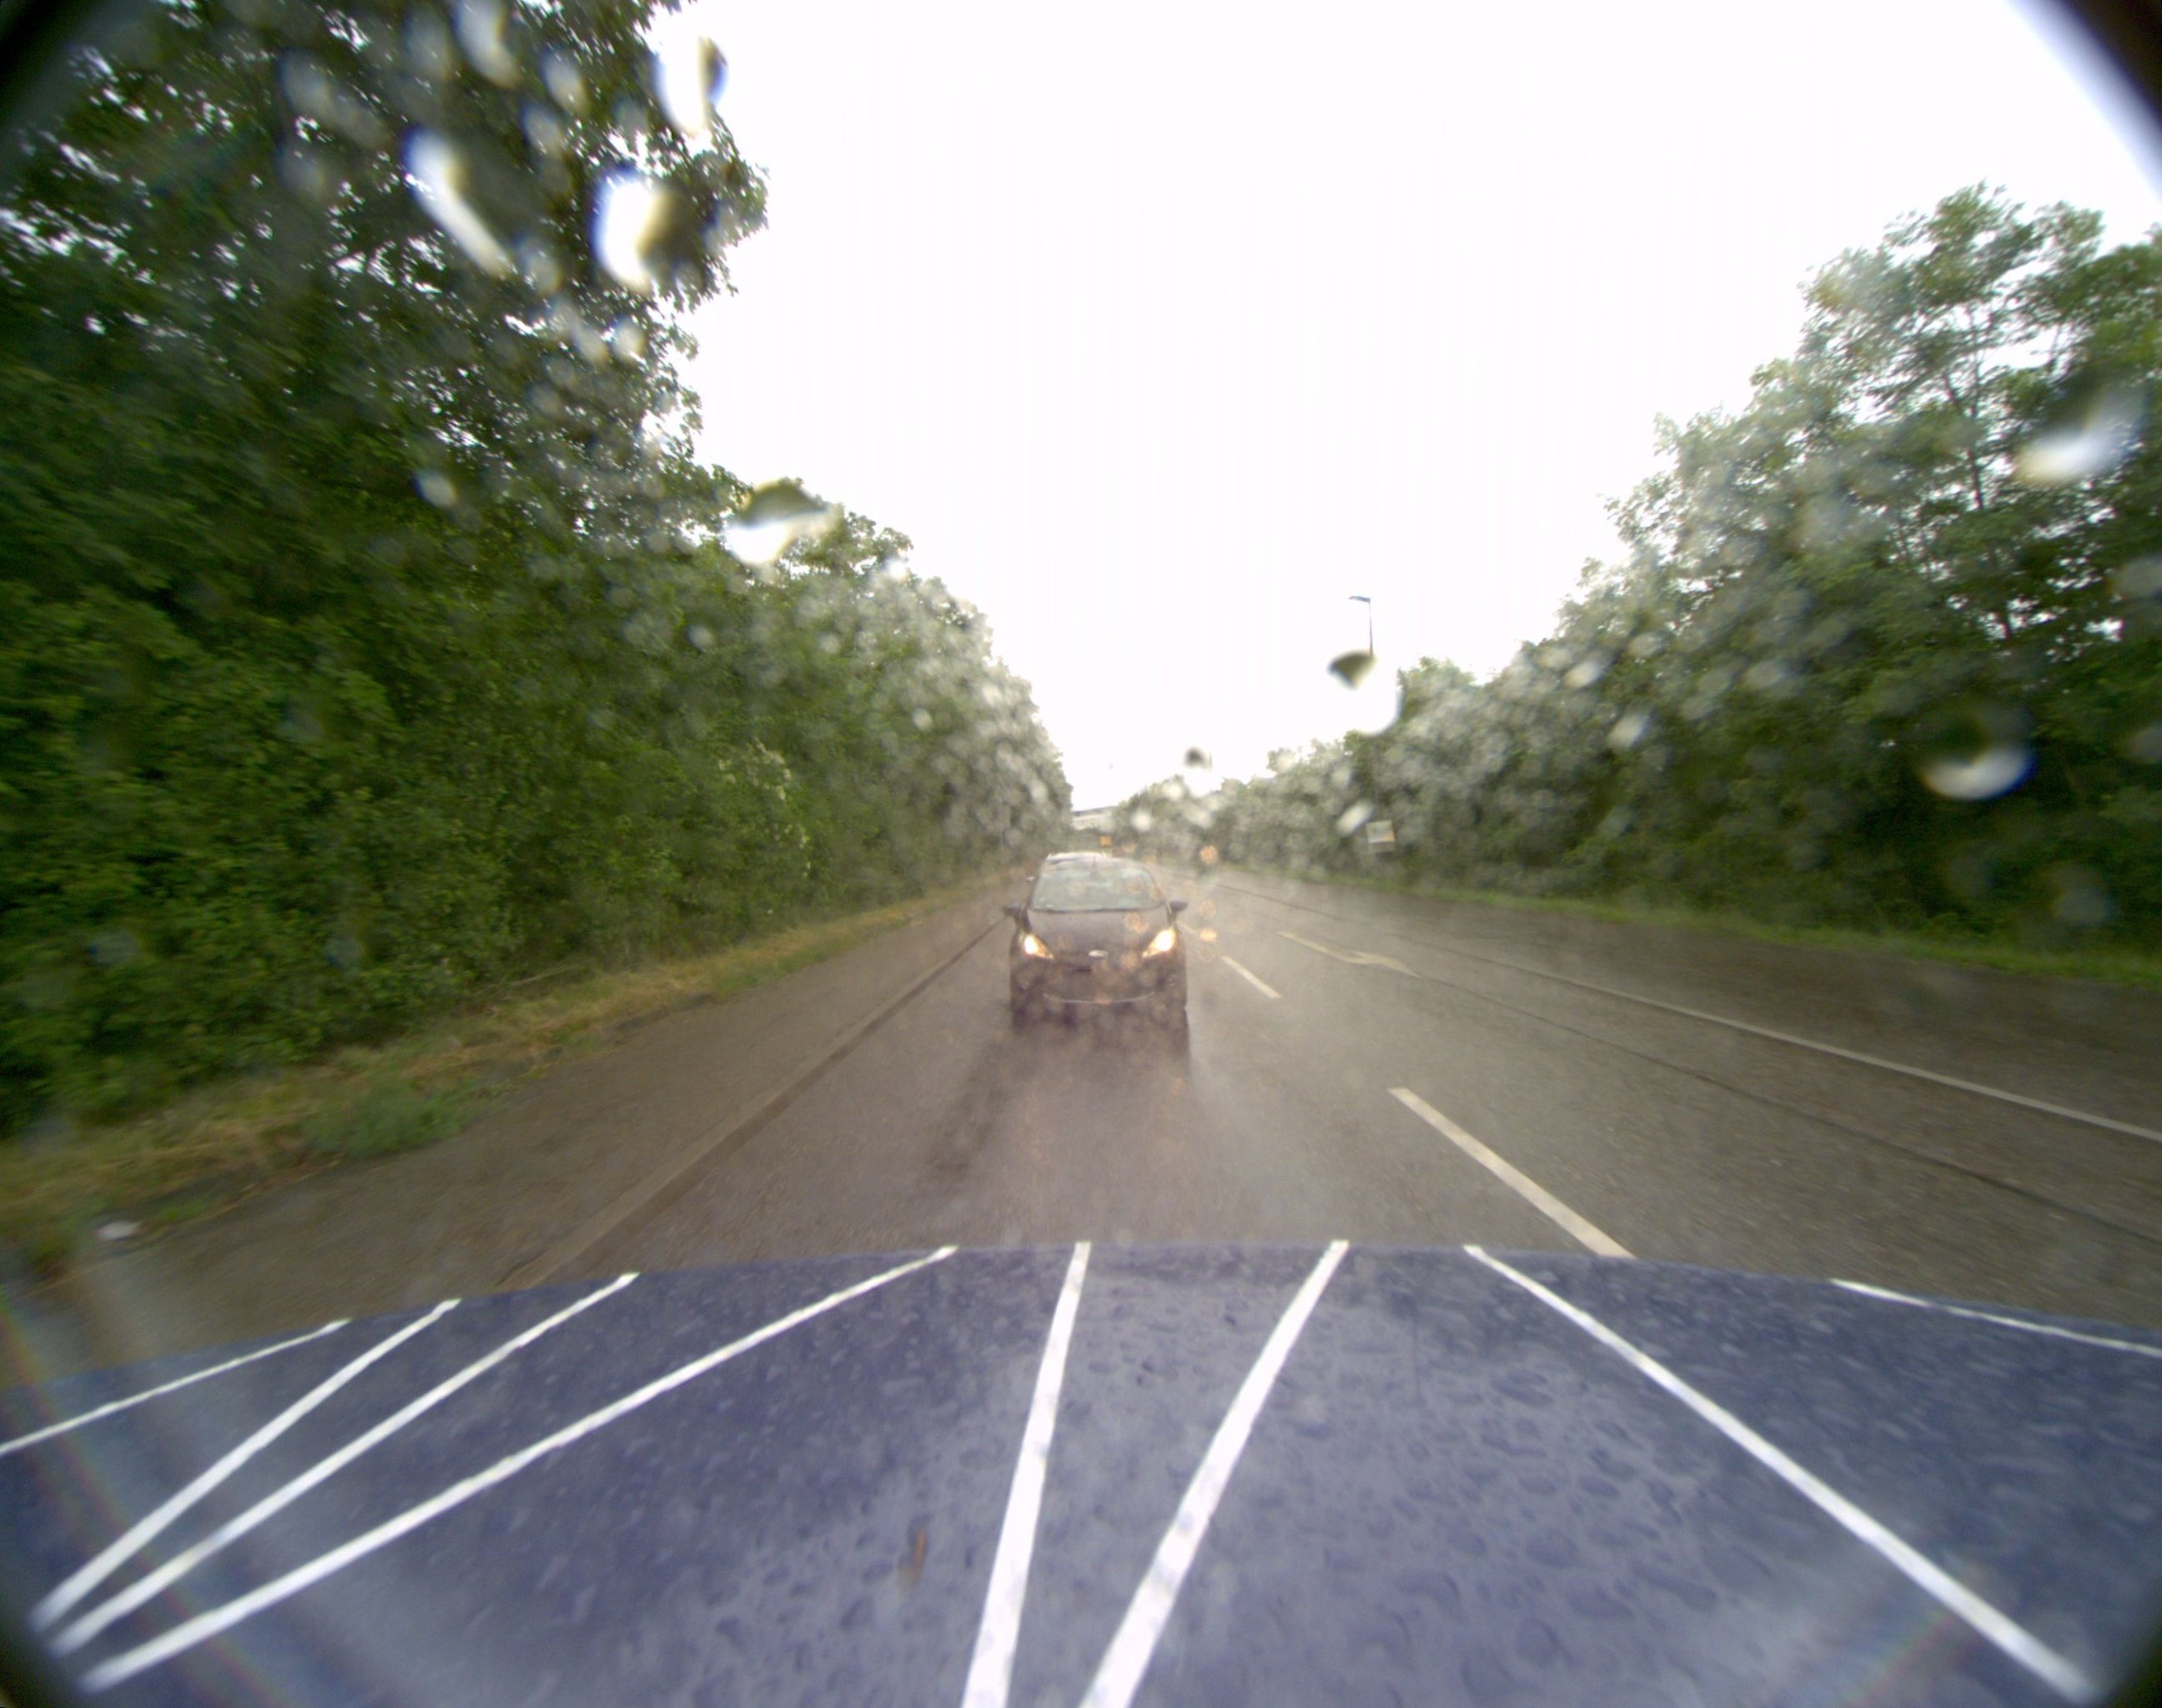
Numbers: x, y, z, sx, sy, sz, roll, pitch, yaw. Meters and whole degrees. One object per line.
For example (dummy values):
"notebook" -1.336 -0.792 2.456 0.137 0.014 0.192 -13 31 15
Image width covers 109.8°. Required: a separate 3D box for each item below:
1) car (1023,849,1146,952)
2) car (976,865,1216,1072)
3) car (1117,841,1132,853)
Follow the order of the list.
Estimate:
"car" 0.080 0.752 14.570 1.998 1.576 3.999 -2 2 1
"car" 0.142 0.936 8.133 1.839 1.404 4.341 -2 1 1
"car" 6.489 -1.084 113.147 1.998 1.576 3.999 -2 2 1
